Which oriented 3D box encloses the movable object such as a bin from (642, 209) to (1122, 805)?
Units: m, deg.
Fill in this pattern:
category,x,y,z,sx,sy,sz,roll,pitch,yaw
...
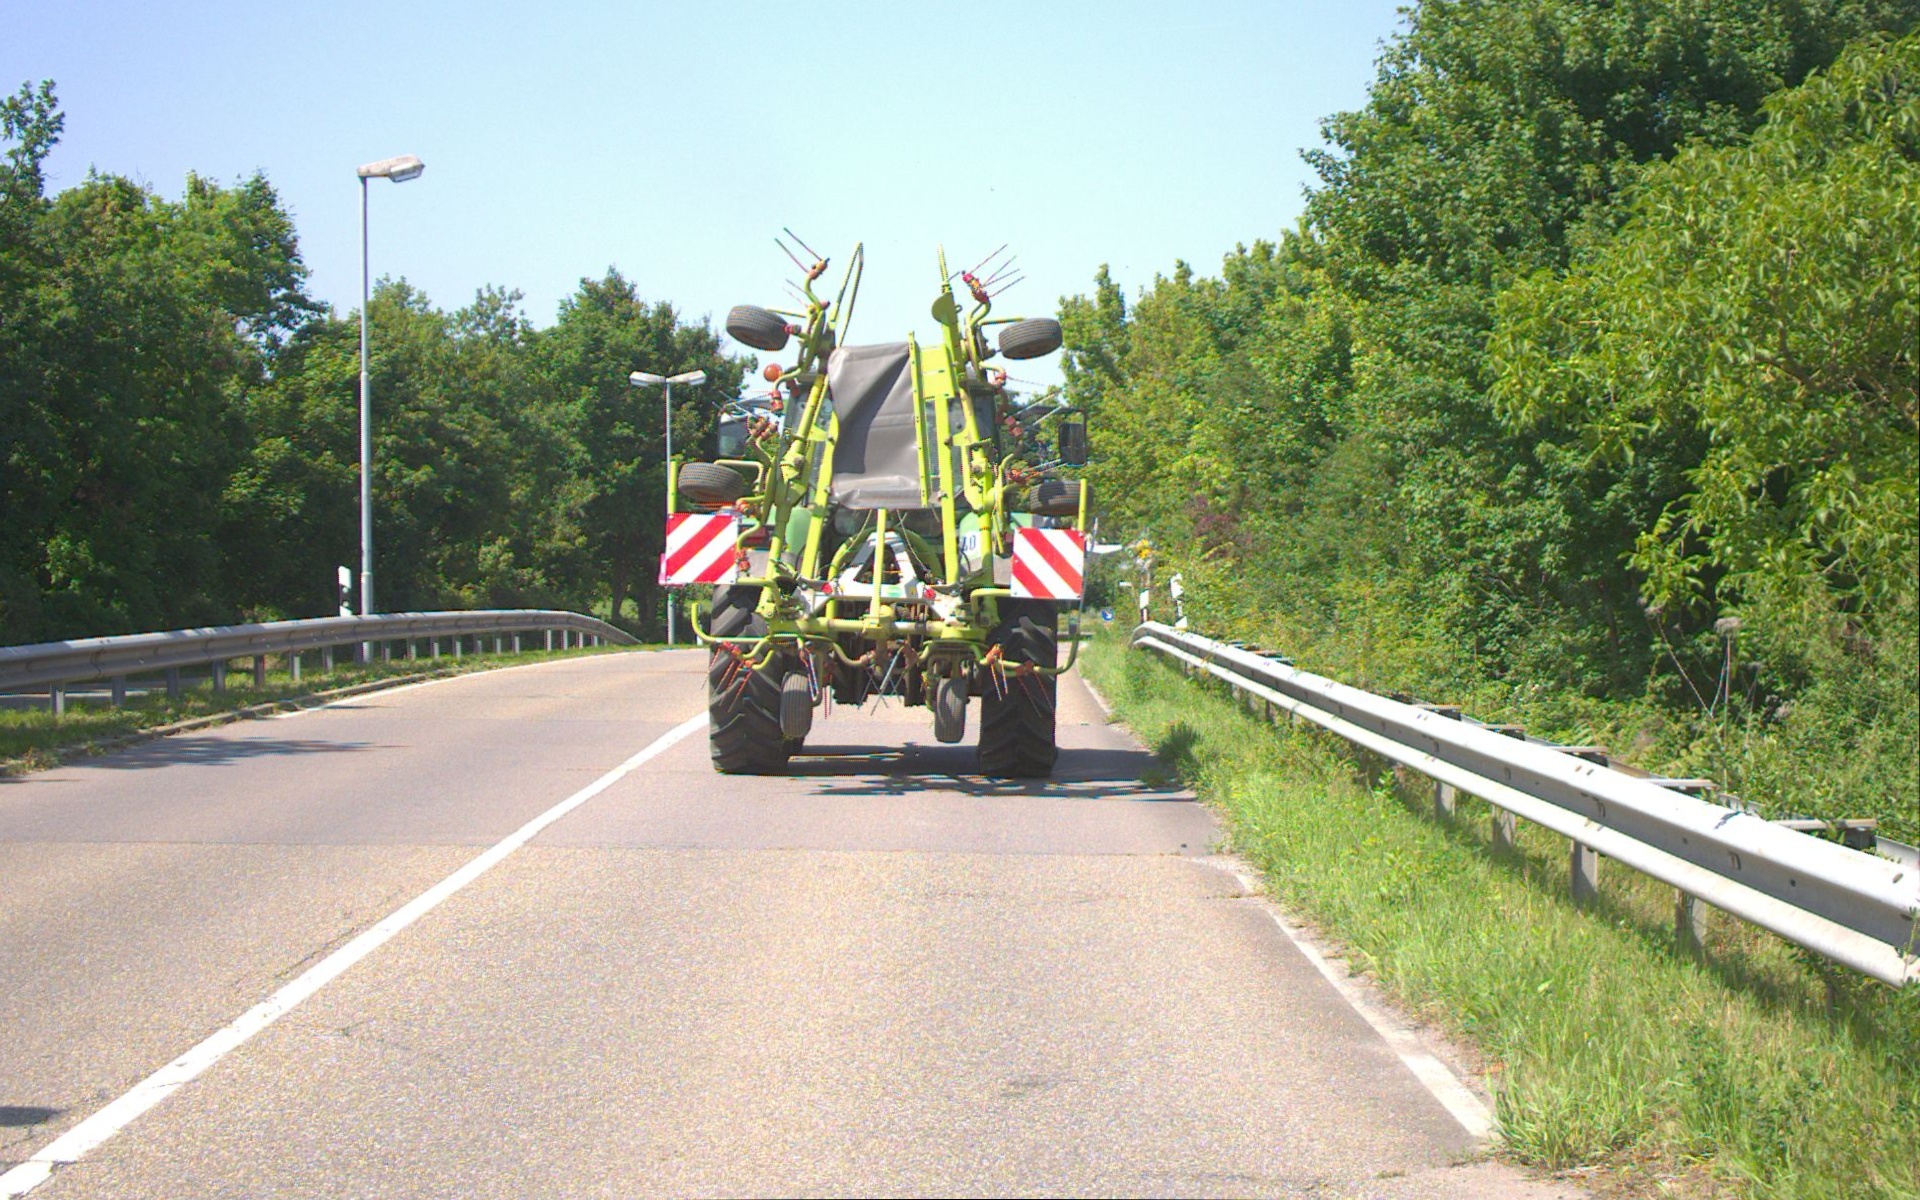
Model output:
category,x,y,z,sx,sy,sz,roll,pitch,yaw
movable object such as a bin,-0.466,-0.604,22.787,2.755,3.432,5.670,1,1,0
